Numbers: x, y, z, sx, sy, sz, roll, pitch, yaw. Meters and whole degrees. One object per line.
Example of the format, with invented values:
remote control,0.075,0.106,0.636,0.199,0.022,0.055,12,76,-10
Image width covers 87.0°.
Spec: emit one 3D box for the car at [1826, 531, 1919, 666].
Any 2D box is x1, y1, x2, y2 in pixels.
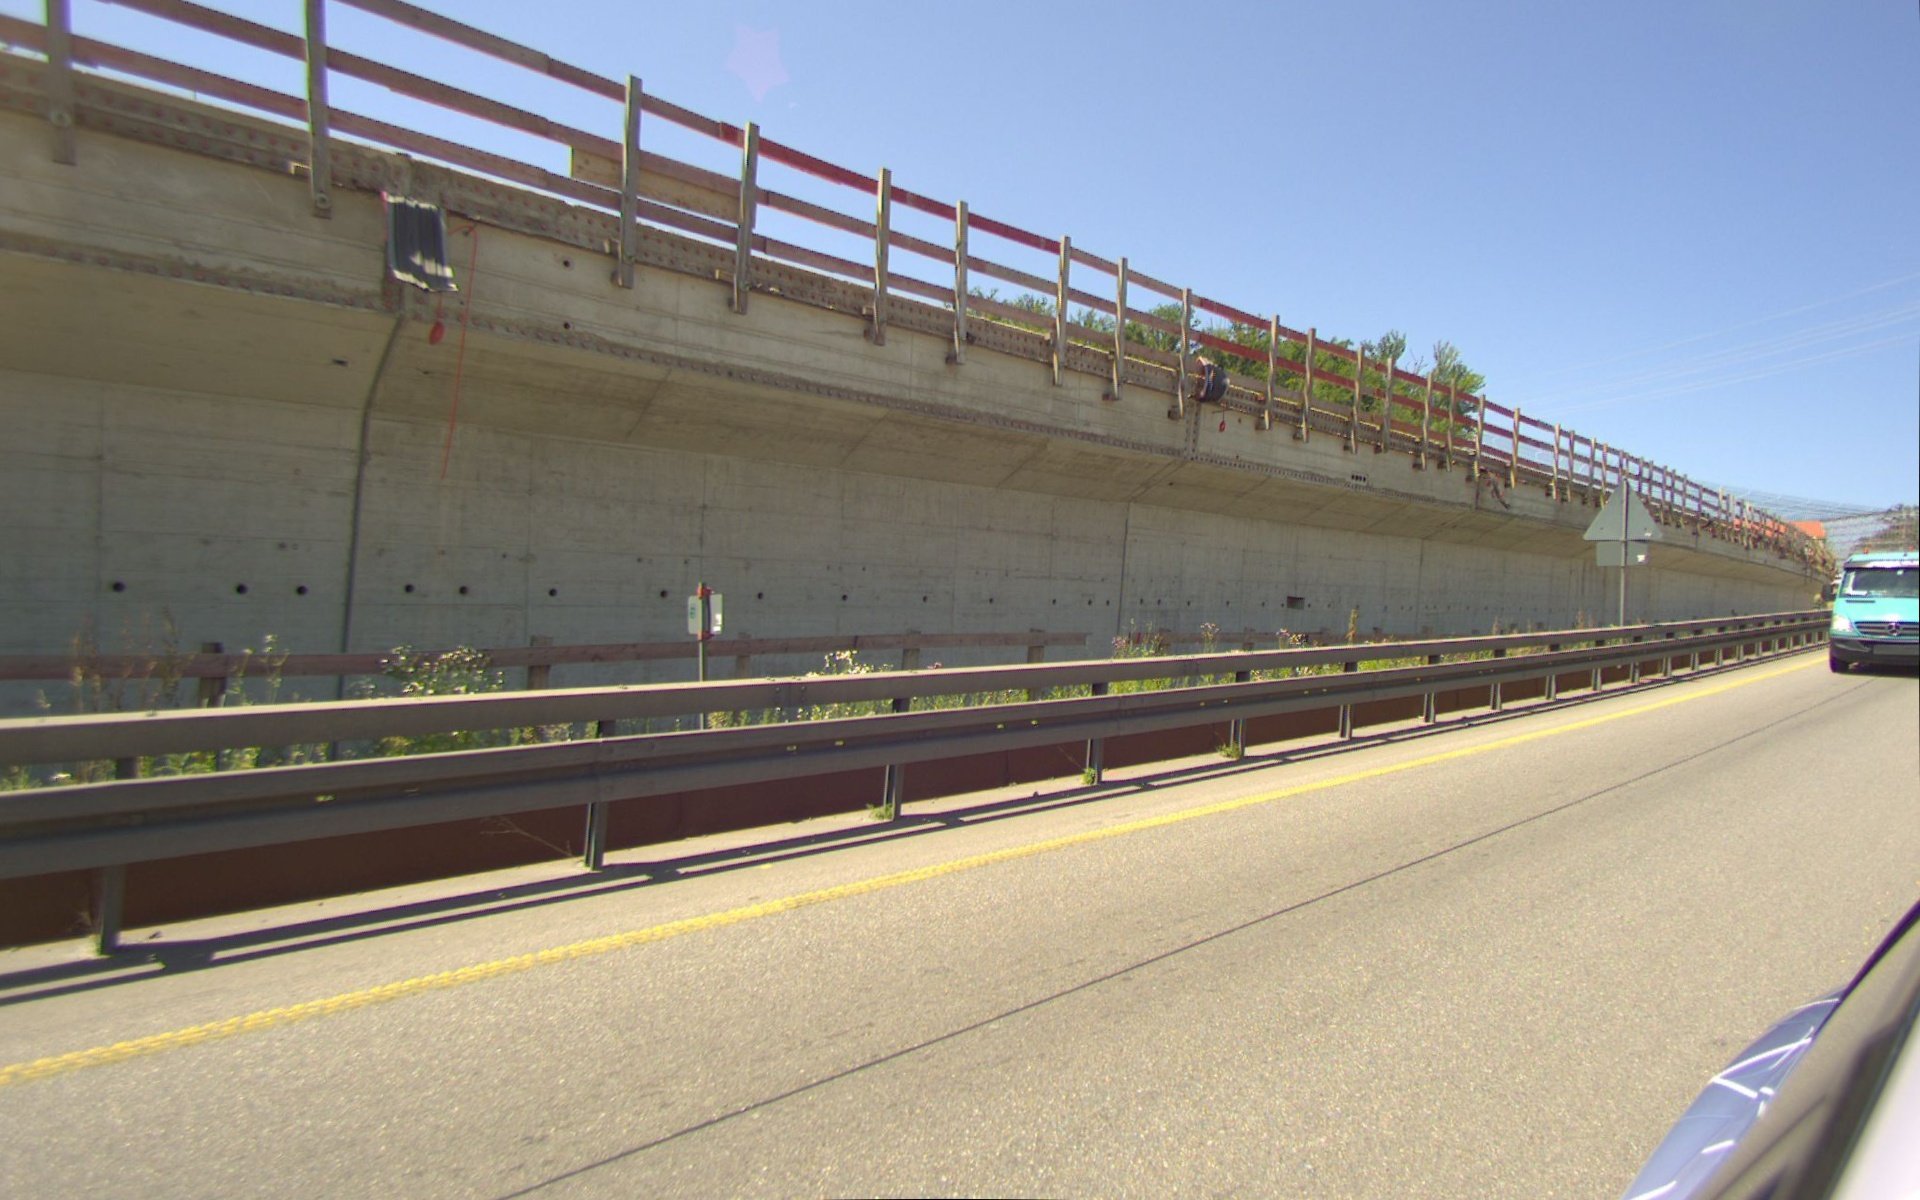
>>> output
car,19.190,-0.092,20.089,6.785,2.354,2.215,-1,2,-42
